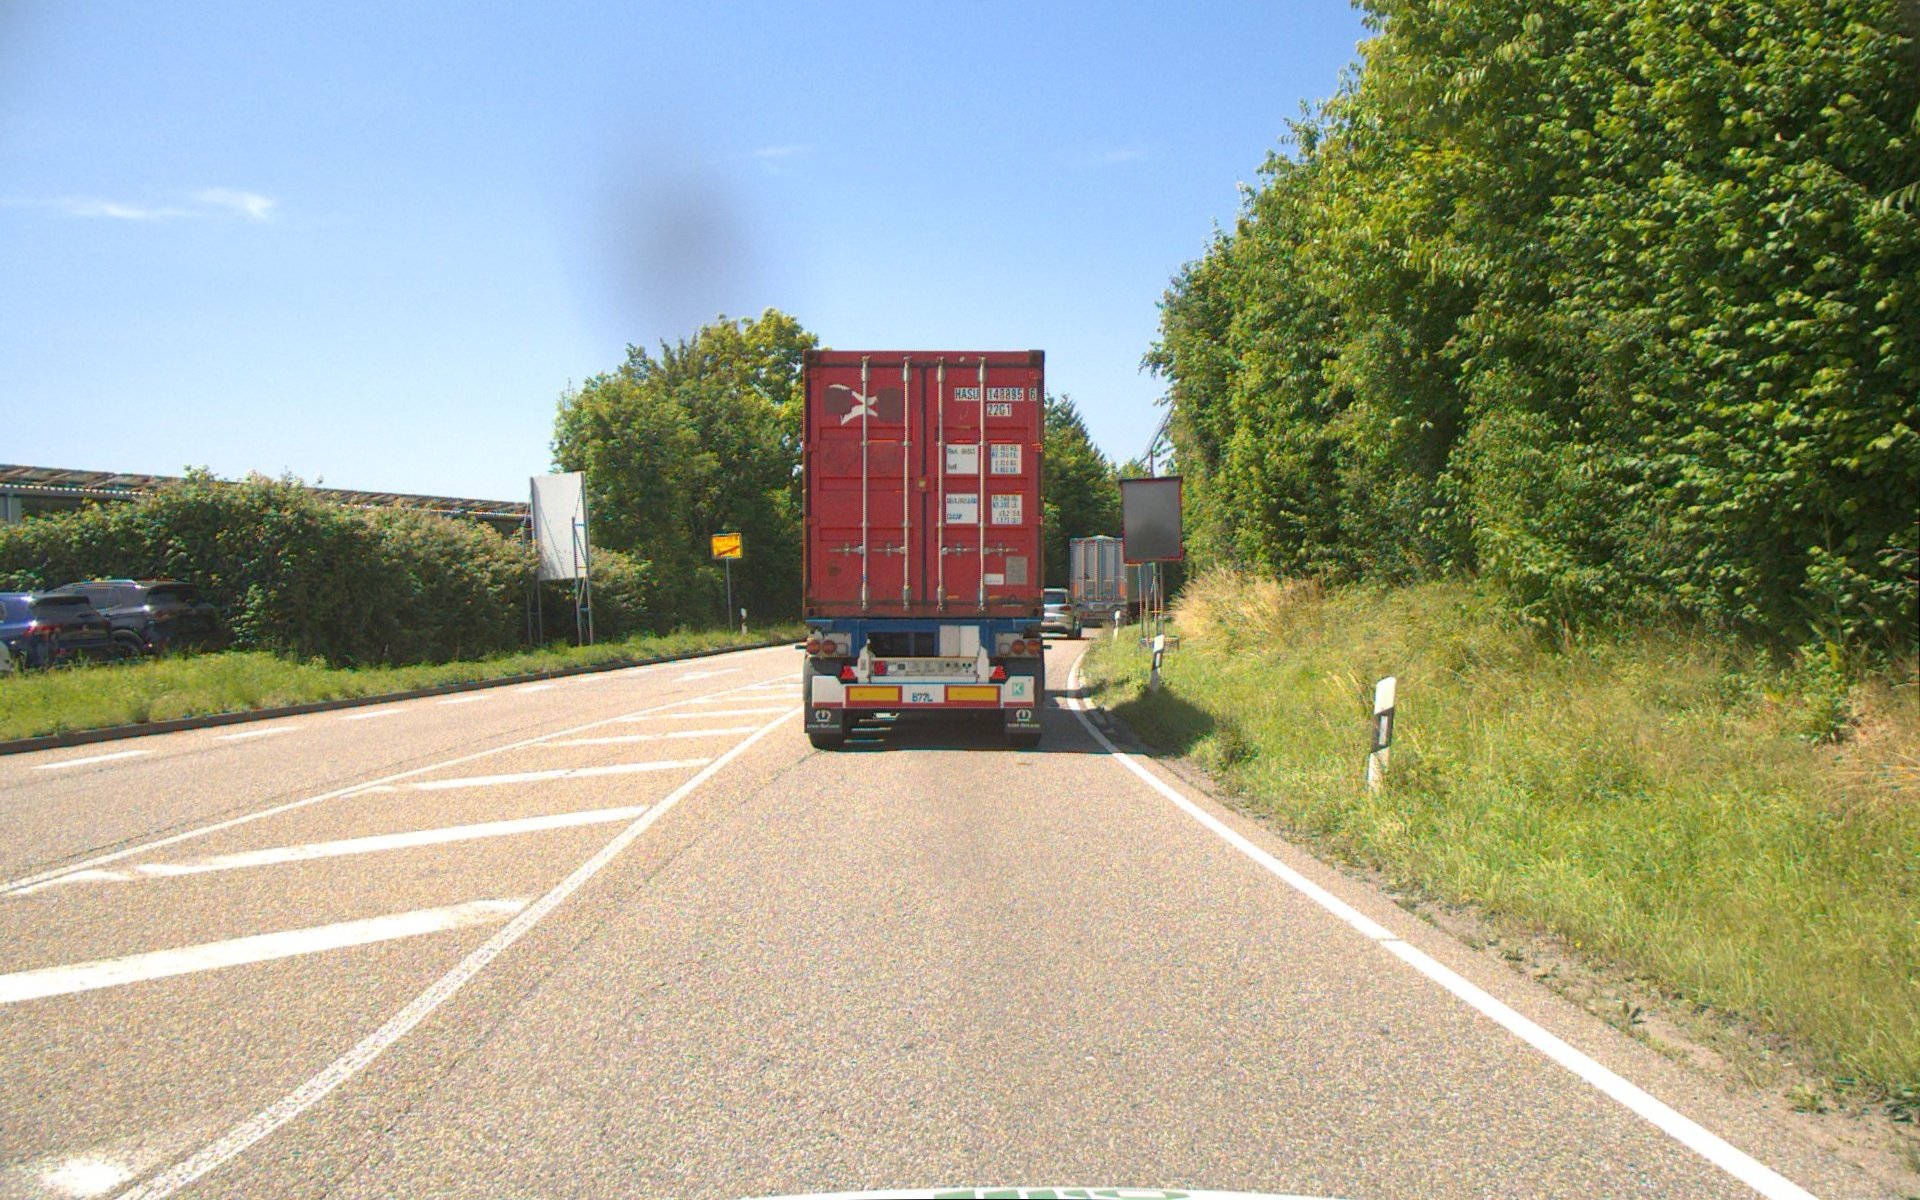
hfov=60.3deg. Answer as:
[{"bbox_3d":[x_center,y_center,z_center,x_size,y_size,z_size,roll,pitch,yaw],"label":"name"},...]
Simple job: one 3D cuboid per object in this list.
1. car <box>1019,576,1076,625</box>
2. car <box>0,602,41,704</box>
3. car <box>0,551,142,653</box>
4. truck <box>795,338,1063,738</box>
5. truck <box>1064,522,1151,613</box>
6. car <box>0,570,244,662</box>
[{"bbox_3d":[2.987,-0.020,56.149,1.794,1.458,4.002,-4,1,4],"label":"car"},{"bbox_3d":[-14.778,0.847,22.194,3.902,1.340,1.835,-4,1,9],"label":"car"},{"bbox_3d":[-14.431,0.099,24.322,3.902,1.386,1.822,-4,1,9],"label":"car"},{"bbox_3d":[-0.328,-0.651,22.752,2.593,3.873,13.358,0,0,0],"label":"truck"},{"bbox_3d":[7.164,-1.573,78.386,2.859,3.781,13.373,-3,1,10],"label":"truck"},{"bbox_3d":[-13.709,0.229,26.647,3.617,1.397,1.805,0,1,12],"label":"car"}]
